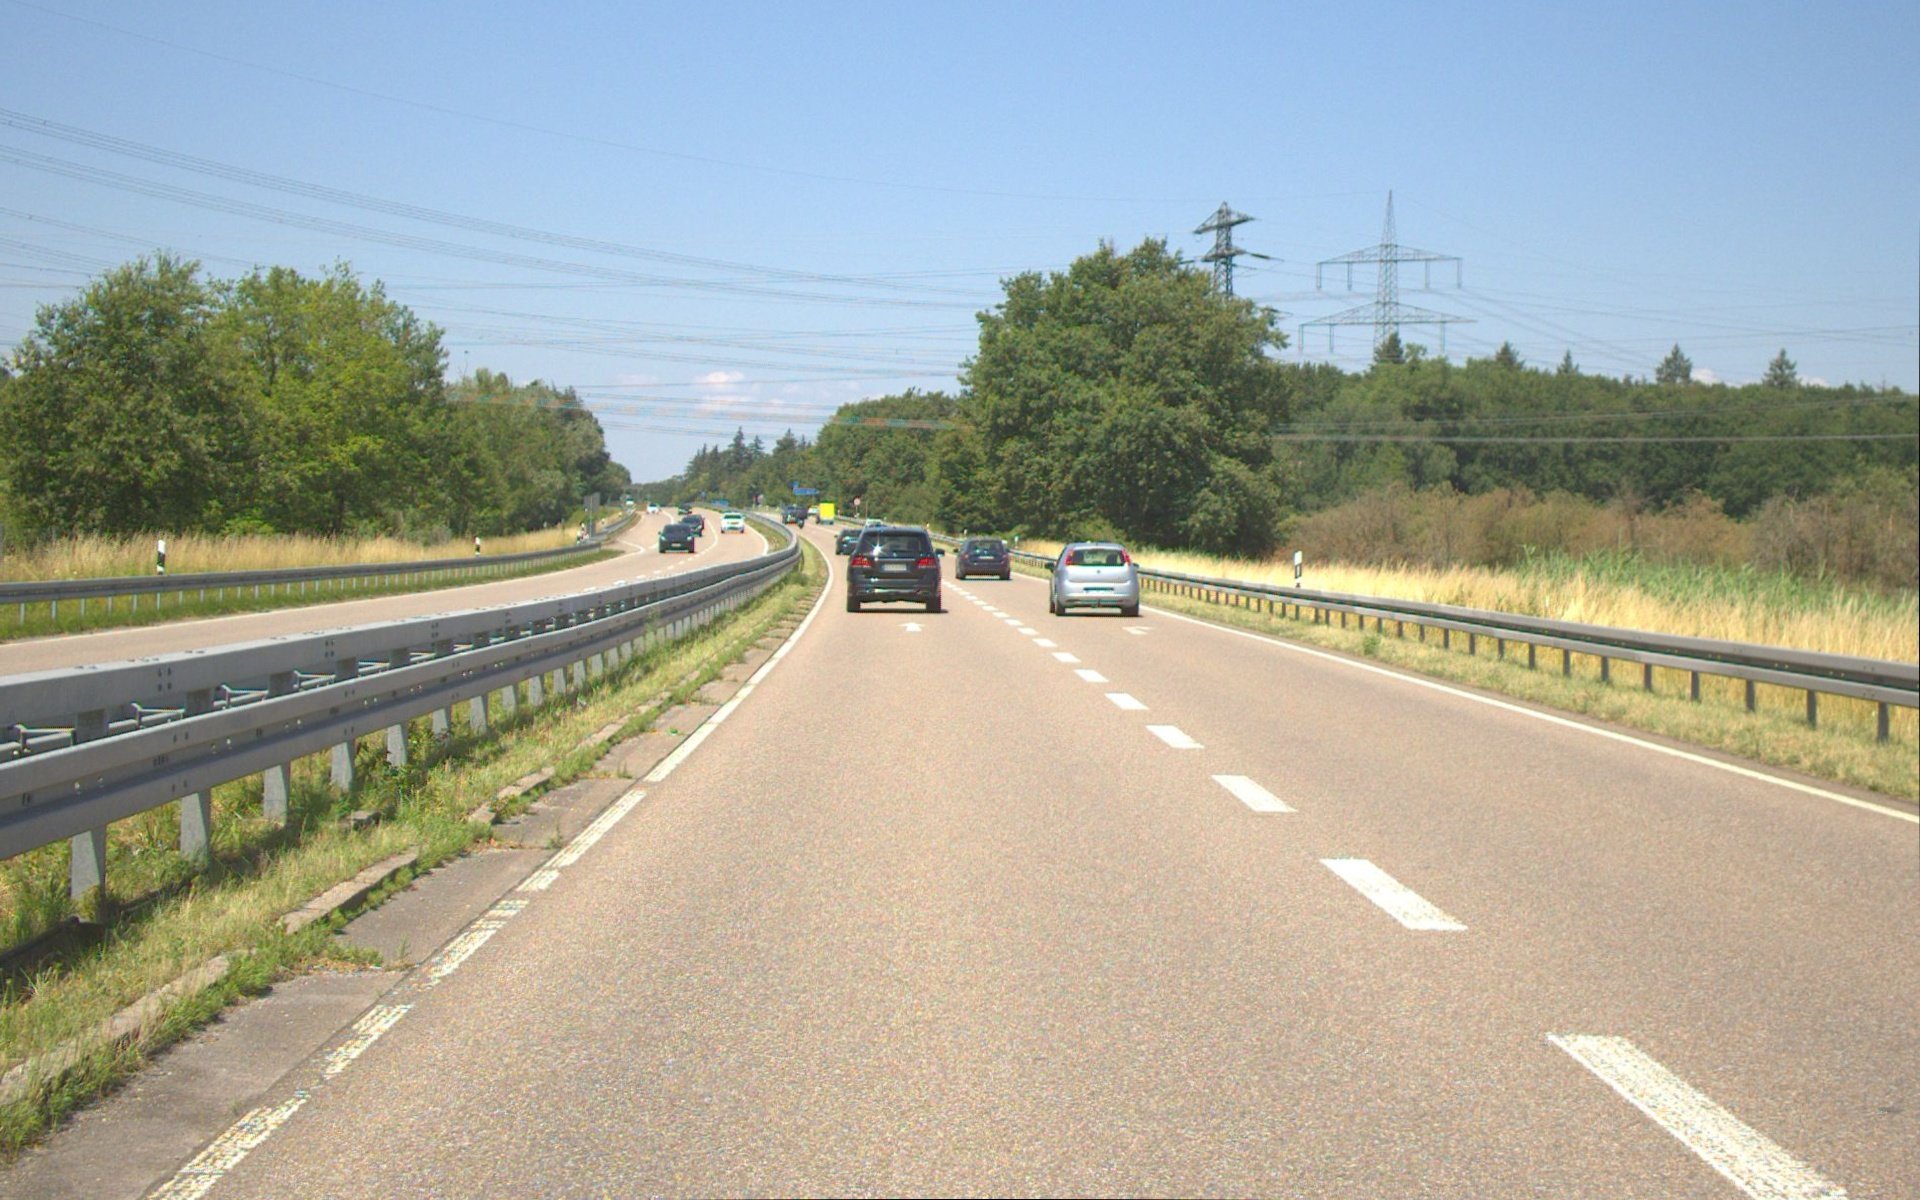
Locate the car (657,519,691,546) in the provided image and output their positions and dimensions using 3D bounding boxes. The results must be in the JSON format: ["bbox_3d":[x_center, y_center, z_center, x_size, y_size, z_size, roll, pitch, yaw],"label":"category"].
[{"bbox_3d":[-16.115,-3.804,193.708,1.831,1.470,3.685,-2,1,-5],"label":"car"}]

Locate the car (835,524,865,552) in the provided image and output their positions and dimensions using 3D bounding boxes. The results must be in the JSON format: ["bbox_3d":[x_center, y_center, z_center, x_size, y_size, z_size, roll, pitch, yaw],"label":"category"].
[{"bbox_3d":[-6.041,-3.394,188.594,1.514,1.470,3.066,2,1,0],"label":"car"}]

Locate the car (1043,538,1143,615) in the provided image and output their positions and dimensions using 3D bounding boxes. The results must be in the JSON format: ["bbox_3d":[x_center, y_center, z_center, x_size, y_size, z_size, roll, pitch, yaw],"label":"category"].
[{"bbox_3d":[2.668,-0.500,69.611,1.779,1.474,4.316,2,1,0],"label":"car"}]

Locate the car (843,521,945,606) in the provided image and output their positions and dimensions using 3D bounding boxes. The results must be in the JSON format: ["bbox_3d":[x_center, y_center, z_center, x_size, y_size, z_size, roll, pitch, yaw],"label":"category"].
[{"bbox_3d":[-1.335,-0.768,70.542,1.993,1.649,4.000,2,1,0],"label":"car"}]

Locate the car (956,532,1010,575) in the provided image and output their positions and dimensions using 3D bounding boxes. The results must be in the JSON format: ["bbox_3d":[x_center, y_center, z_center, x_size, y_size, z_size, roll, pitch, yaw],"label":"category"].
[{"bbox_3d":[0.783,-1.618,119.688,1.819,1.409,4.000,2,1,0],"label":"car"}]
